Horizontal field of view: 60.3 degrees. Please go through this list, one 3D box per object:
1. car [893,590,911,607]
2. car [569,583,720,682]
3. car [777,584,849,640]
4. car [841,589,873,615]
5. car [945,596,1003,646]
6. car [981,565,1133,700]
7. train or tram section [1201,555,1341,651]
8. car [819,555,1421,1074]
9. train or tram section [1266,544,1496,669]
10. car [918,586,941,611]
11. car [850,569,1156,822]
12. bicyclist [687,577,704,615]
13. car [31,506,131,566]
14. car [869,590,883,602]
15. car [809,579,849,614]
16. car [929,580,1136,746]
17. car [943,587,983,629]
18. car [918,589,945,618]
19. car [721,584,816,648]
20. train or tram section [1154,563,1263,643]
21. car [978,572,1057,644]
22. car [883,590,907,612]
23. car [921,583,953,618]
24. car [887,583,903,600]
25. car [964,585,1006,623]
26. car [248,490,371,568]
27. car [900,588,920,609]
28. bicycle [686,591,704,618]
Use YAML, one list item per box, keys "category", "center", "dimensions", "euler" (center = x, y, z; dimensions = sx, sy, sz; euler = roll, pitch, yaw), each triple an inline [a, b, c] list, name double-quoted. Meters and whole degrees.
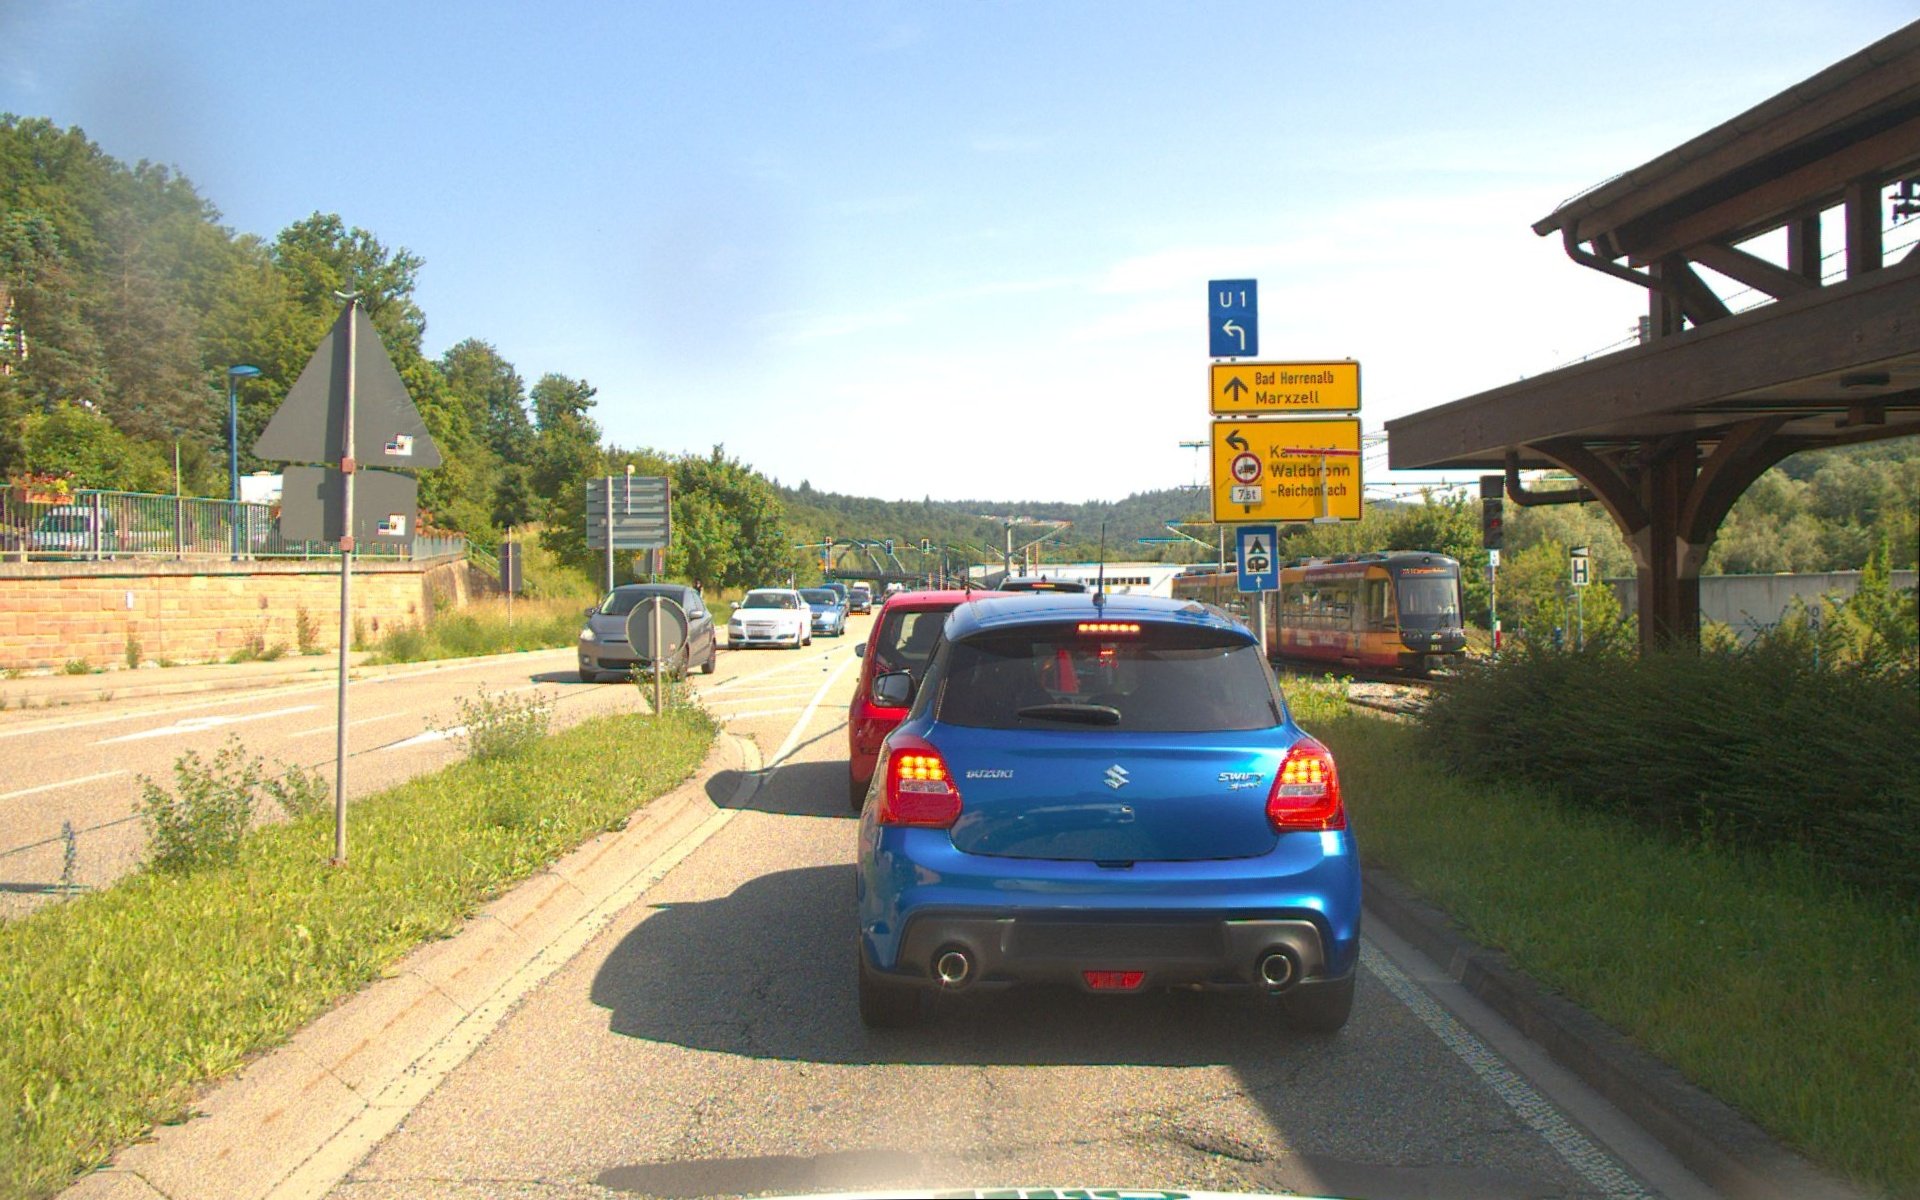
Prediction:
- category: "car"
  center: [-6.875, -0.236, 196.272]
  dimensions: [1.953, 1.848, 4.000]
  euler: [2, 1, -1]
- category: "car"
  center: [-4.994, 0.481, 26.630]
  dimensions: [1.637, 1.466, 3.840]
  euler: [1, 0, 1]
- category: "car"
  center: [-4.530, 0.341, 51.408]
  dimensions: [1.795, 1.493, 3.812]
  euler: [2, 3, 1]
- category: "car"
  center: [-6.403, 0.088, 102.699]
  dimensions: [1.795, 1.456, 3.810]
  euler: [2, 1, -2]
- category: "car"
  center: [0.488, 0.665, 54.600]
  dimensions: [1.794, 1.456, 3.812]
  euler: [2, 1, 1]
- category: "car"
  center: [1.305, 0.409, 24.086]
  dimensions: [1.952, 1.716, 4.497]
  euler: [2, 1, 1]
- category: "train or tram section"
  center: [12.180, 0.110, 66.122]
  dimensions: [2.731, 3.423, 12.041]
  euler: [2, 0, -3]
- category: "car"
  center: [0.443, 0.642, 7.050]
  dimensions: [1.830, 1.575, 3.999]
  euler: [1, 0, -2]
- category: "train or tram section"
  center: [13.025, 0.134, 53.098]
  dimensions: [2.799, 3.423, 14.343]
  euler: [1, 0, -4]
- category: "car"
  center: [-2.679, -0.164, 147.506]
  dimensions: [1.953, 2.048, 4.000]
  euler: [2, 1, -1]
- category: "car"
  center: [0.305, 0.614, 12.718]
  dimensions: [1.952, 1.598, 4.000]
  euler: [1, 0, 1]
- category: "bicyclist"
  center: [-11.000, -0.164, 68.887]
  dimensions: [0.617, 1.533, 0.505]
  euler: [2, 1, -4]
- category: "car"
  center: [-26.154, -1.864, 49.350]
  dimensions: [1.864, 1.658, 3.982]
  euler: [0, 1, -16]
- category: "car"
  center: [-13.086, -0.645, 257.473]
  dimensions: [1.953, 1.770, 4.000]
  euler: [2, 1, -1]
- category: "car"
  center: [-7.077, -0.189, 89.596]
  dimensions: [1.795, 1.743, 3.811]
  euler: [2, 1, 1]
- category: "car"
  center: [0.719, 0.577, 17.993]
  dimensions: [1.952, 1.558, 4.602]
  euler: [0, 1, 1]
- category: "car"
  center: [0.125, 0.406, 87.289]
  dimensions: [1.953, 2.048, 4.000]
  euler: [2, 1, -1]
- category: "car"
  center: [-2.166, 0.251, 126.584]
  dimensions: [1.953, 2.048, 4.000]
  euler: [2, 1, -1]
- category: "car"
  center: [-4.630, 0.362, 40.523]
  dimensions: [1.795, 1.393, 3.950]
  euler: [1, 1, 1]
- category: "train or tram section"
  center: [11.544, 0.048, 78.142]
  dimensions: [2.701, 3.422, 12.042]
  euler: [2, 1, -3]
- category: "car"
  center: [1.495, 0.177, 43.999]
  dimensions: [1.952, 1.766, 4.000]
  euler: [2, 1, 1]
- category: "car"
  center: [-5.488, 0.049, 140.052]
  dimensions: [1.953, 1.814, 3.999]
  euler: [1, 0, -1]
- category: "car"
  center: [-1.453, -0.005, 105.060]
  dimensions: [1.953, 2.048, 4.000]
  euler: [2, 1, -1]
- category: "car"
  center: [-8.443, -1.157, 216.303]
  dimensions: [1.953, 2.181, 4.719]
  euler: [1, 0, -1]
- category: "car"
  center: [1.123, 0.160, 74.030]
  dimensions: [1.794, 1.519, 3.812]
  euler: [2, 1, 1]
- category: "car"
  center: [-17.736, -1.905, 45.307]
  dimensions: [1.982, 1.953, 4.724]
  euler: [2, 1, -7]
- category: "car"
  center: [-5.255, -0.166, 173.205]
  dimensions: [1.953, 2.048, 4.000]
  euler: [2, 1, -1]
- category: "bicycle"
  center: [-11.042, 0.186, 68.940]
  dimensions: [0.555, 1.061, 1.550]
  euler: [2, 1, -4]
